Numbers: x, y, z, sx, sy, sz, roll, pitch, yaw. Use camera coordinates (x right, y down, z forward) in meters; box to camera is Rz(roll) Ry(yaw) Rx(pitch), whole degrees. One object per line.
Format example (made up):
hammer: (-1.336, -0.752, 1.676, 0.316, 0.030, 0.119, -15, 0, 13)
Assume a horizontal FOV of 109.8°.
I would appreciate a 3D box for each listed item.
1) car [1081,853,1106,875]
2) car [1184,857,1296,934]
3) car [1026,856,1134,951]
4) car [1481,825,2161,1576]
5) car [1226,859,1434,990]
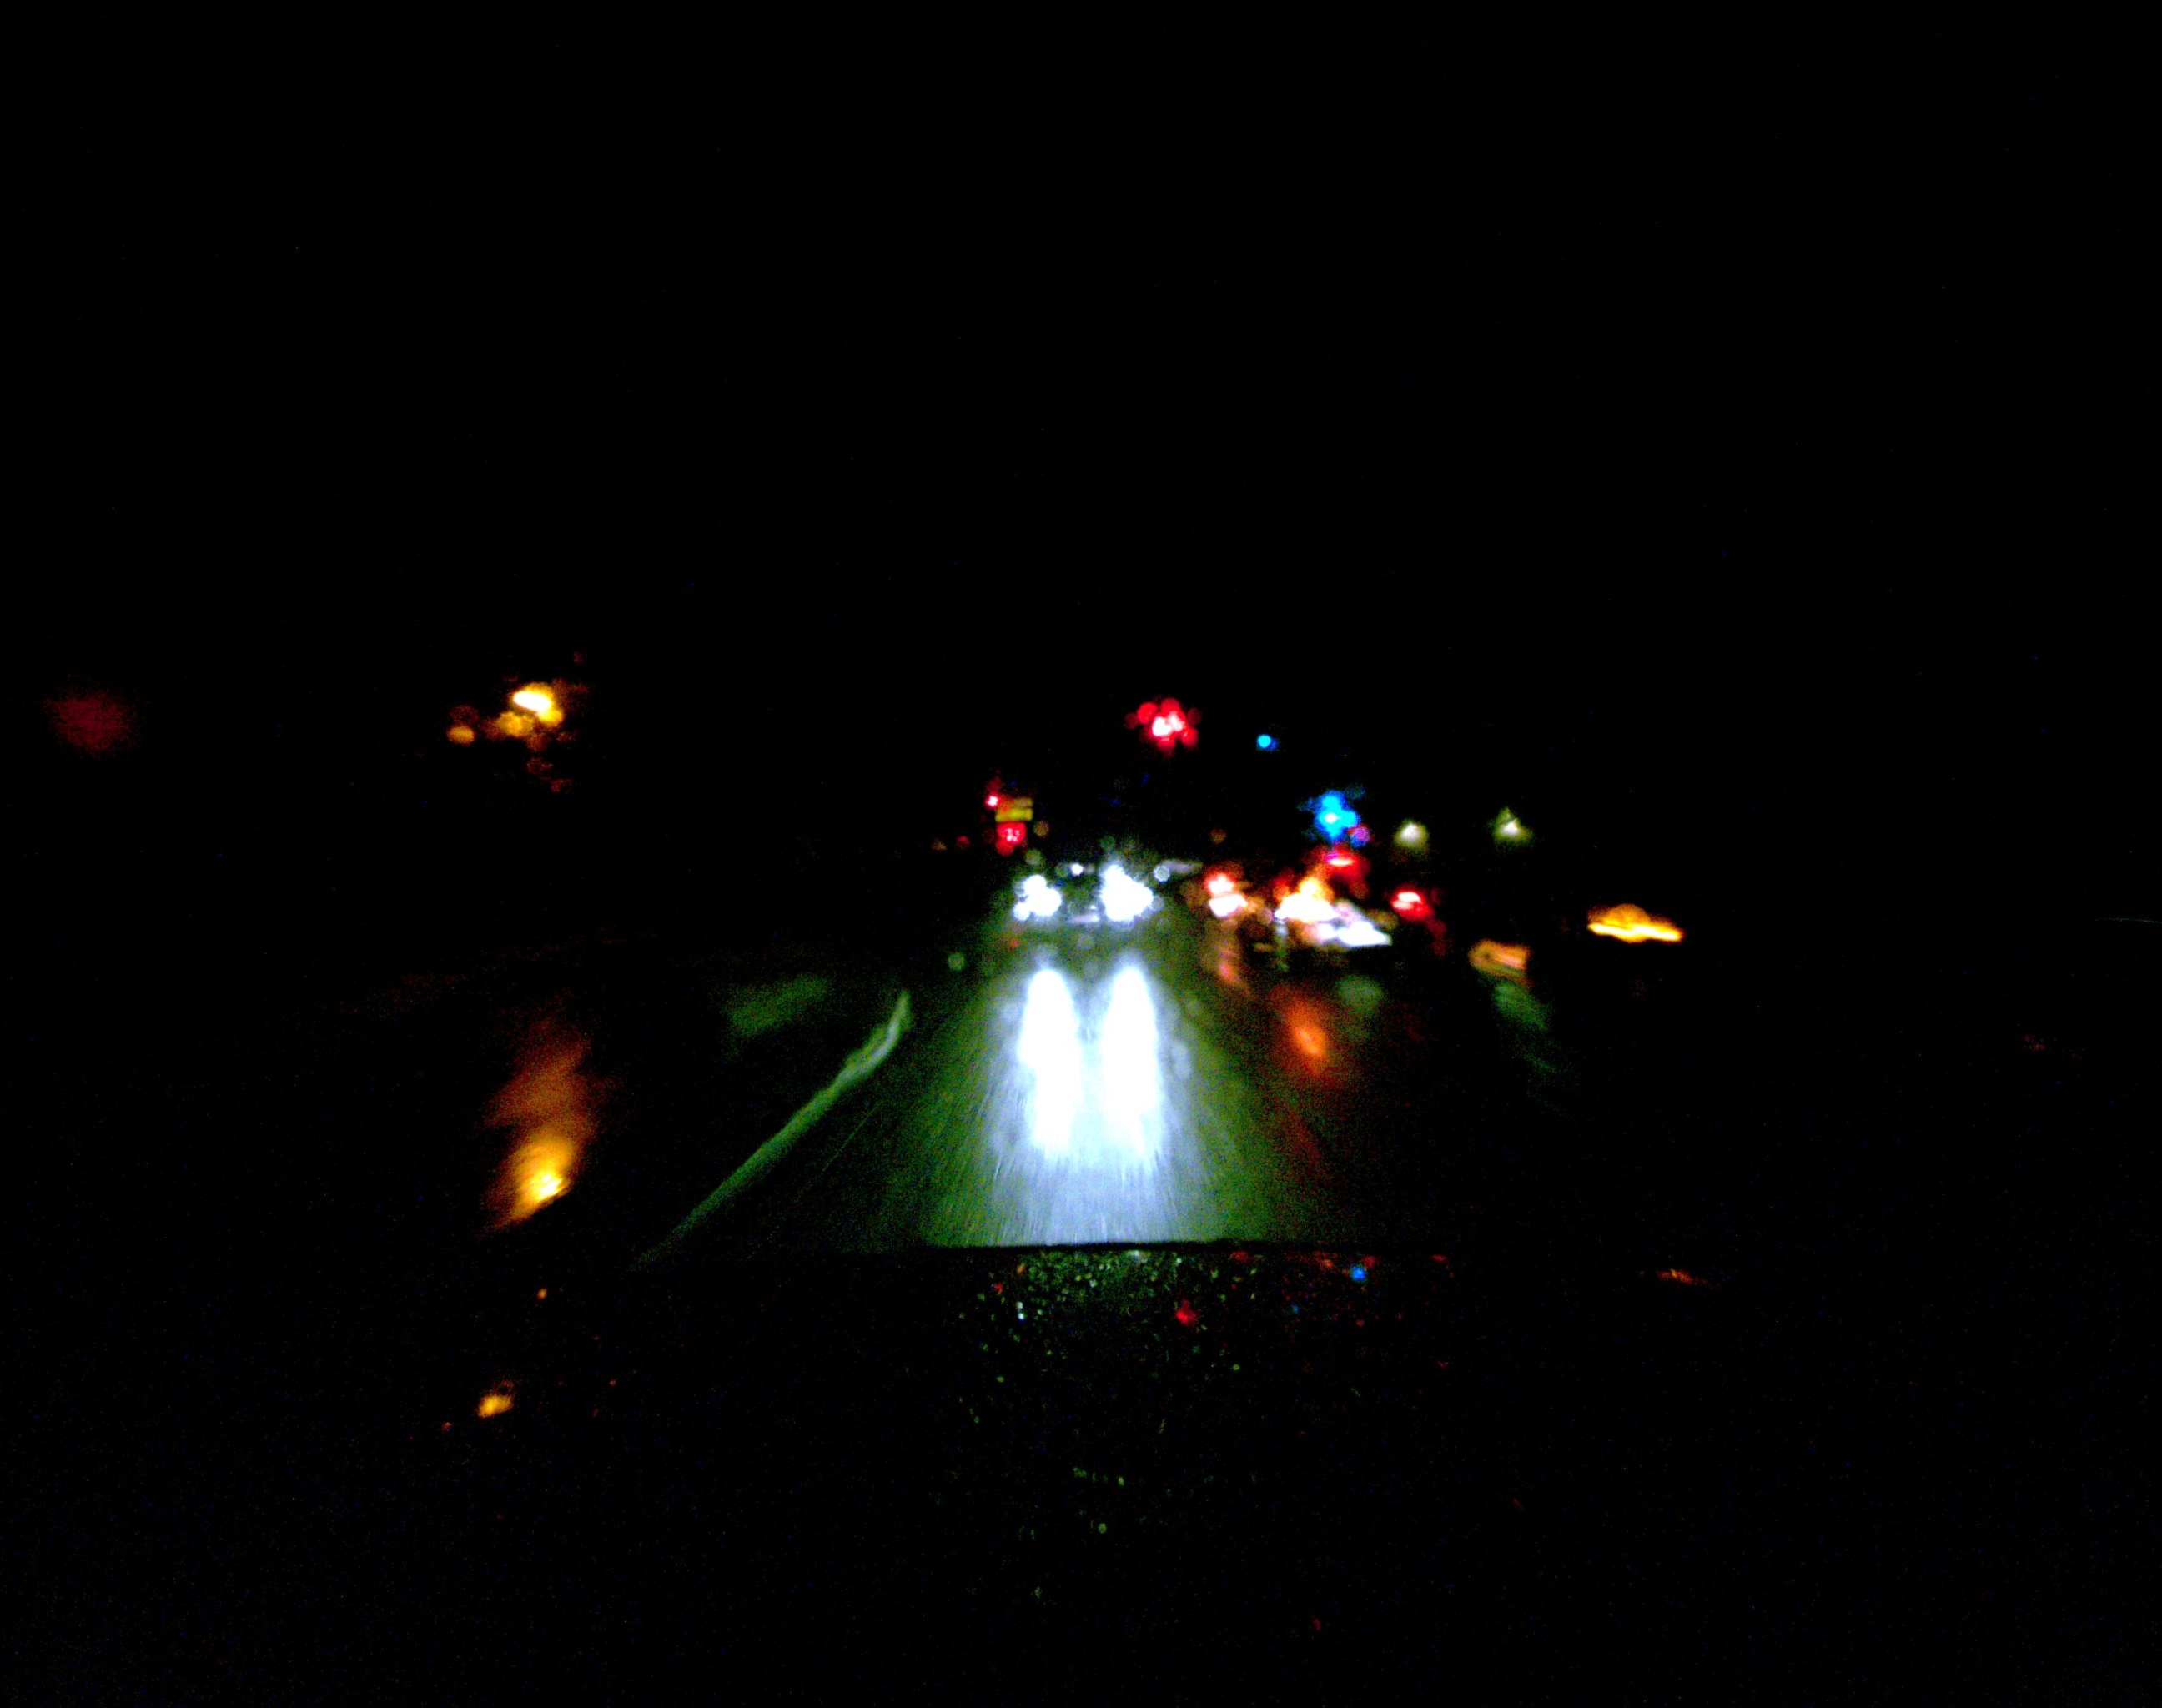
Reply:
car: (1.117, 0.826, 66.256, 1.759, 1.807, 4.711, -3, 0, 4)
car: (3.423, 0.834, 16.976, 1.673, 1.464, 3.633, -2, 0, 0)
car: (0.090, 0.864, 15.459, 1.809, 1.590, 4.787, -1, 0, 3)
car: (3.309, 0.745, 2.331, 1.848, 1.659, 4.445, -2, 0, 1)
car: (3.284, 0.830, 10.822, 1.626, 1.464, 3.884, -2, 0, 0)
